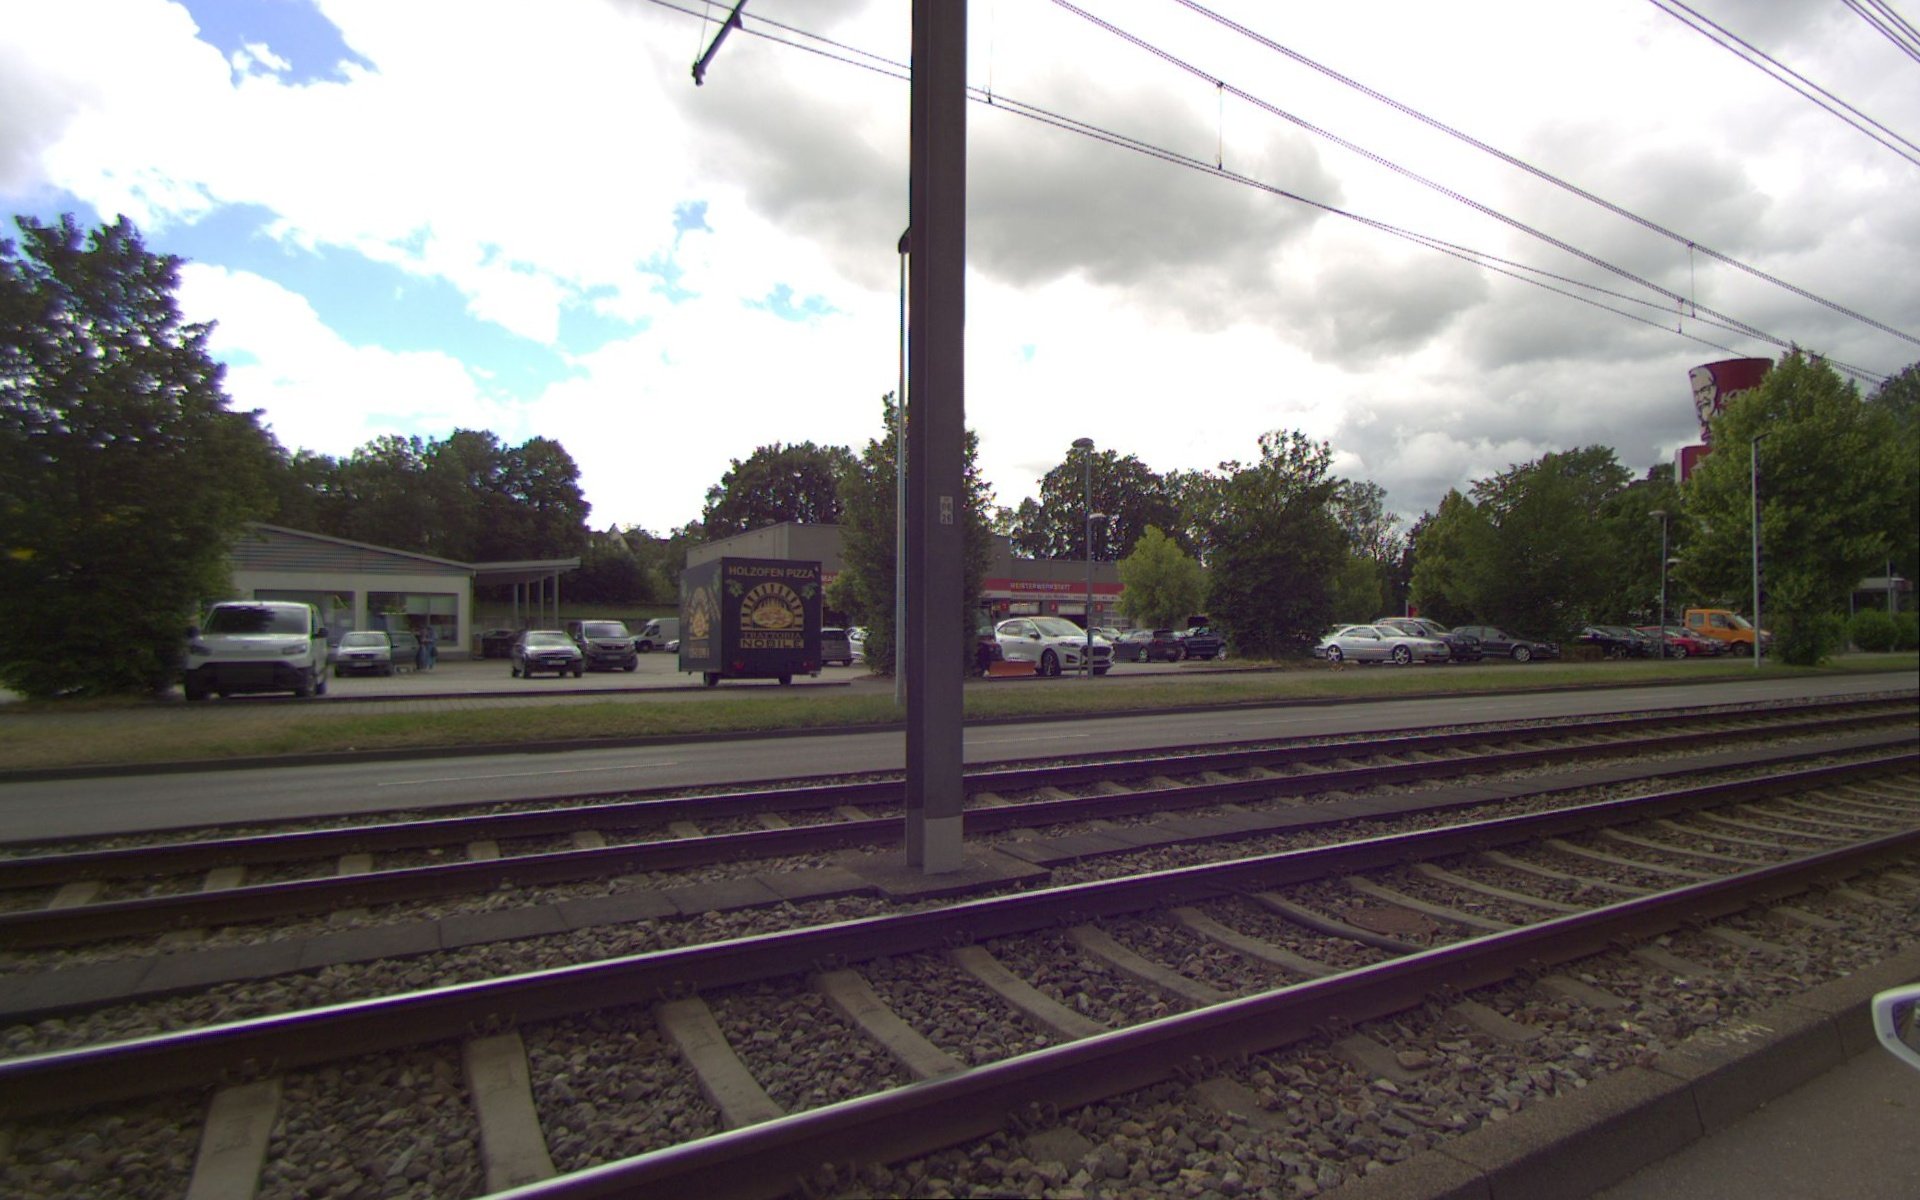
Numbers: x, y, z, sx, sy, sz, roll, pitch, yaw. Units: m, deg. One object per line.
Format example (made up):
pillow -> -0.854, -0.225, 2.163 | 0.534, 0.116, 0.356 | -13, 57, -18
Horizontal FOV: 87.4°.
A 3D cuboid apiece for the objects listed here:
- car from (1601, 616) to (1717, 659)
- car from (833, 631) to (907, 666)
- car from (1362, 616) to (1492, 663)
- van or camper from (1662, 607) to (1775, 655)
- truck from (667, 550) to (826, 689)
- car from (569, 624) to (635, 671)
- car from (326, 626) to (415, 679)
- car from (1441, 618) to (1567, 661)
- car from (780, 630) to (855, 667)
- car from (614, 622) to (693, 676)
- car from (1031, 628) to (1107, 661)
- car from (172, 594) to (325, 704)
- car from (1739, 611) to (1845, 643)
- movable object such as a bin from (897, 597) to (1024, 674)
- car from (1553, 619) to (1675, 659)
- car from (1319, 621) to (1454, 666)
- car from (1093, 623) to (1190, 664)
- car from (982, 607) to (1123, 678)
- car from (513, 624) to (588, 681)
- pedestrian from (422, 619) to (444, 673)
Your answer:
car -> 31.891, 1.682, 45.922 | 1.859, 1.821, 3.962 | 1, -1, -34
car -> -4.060, 2.151, 44.999 | 1.664, 1.491, 3.716 | 1, -2, -36
car -> 17.185, 1.449, 37.115 | 1.859, 1.656, 3.963 | 1, -2, -34
van or camper -> 36.455, 1.451, 48.343 | 1.859, 2.163, 3.962 | 1, 0, -34
truck -> -4.970, 0.480, 22.971 | 2.350, 2.859, 3.966 | 1, -2, -32
car -> -13.521, 1.776, 37.824 | 1.668, 1.661, 3.903 | 1, -2, -30
car -> -19.806, 1.720, 33.837 | 2.438, 1.661, 3.903 | 1, -2, -30
car -> 21.353, 1.539, 39.580 | 1.859, 1.620, 3.963 | 1, -2, -34
car -> -6.129, 2.053, 42.869 | 1.664, 1.491, 3.716 | 1, -2, -36
car -> -10.142, 1.592, 33.119 | 1.668, 1.661, 3.903 | 1, -2, -30
car -> 5.256, 2.135, 48.936 | 1.663, 1.527, 3.934 | 1, -2, -30
car -> -12.811, 0.855, 18.340 | 1.973, 1.750, 4.199 | 1, -2, -31
car -> 43.850, 1.457, 52.988 | 1.778, 1.620, 3.963 | 1, -2, -34
movable object such as a bin -> -0.062, 0.997, 27.822 | 1.661, 1.963, 3.964 | 1, -2, -33
car -> 27.793, 1.665, 42.798 | 1.859, 1.620, 3.963 | 1, -2, -34
car -> 15.070, 1.500, 35.704 | 1.661, 1.491, 4.284 | 1, -1, -32
car -> 7.989, 1.906, 44.532 | 1.917, 1.706, 4.265 | 1, -2, -30
car -> 2.508, 1.174, 28.149 | 1.859, 1.821, 3.963 | 1, -2, -34
car -> -12.940, 1.621, 31.648 | 1.668, 1.661, 3.903 | 1, -2, -30
pedestrian -> -18.760, 1.636, 35.739 | 0.656, 1.879, 0.542 | 1, -2, -30
